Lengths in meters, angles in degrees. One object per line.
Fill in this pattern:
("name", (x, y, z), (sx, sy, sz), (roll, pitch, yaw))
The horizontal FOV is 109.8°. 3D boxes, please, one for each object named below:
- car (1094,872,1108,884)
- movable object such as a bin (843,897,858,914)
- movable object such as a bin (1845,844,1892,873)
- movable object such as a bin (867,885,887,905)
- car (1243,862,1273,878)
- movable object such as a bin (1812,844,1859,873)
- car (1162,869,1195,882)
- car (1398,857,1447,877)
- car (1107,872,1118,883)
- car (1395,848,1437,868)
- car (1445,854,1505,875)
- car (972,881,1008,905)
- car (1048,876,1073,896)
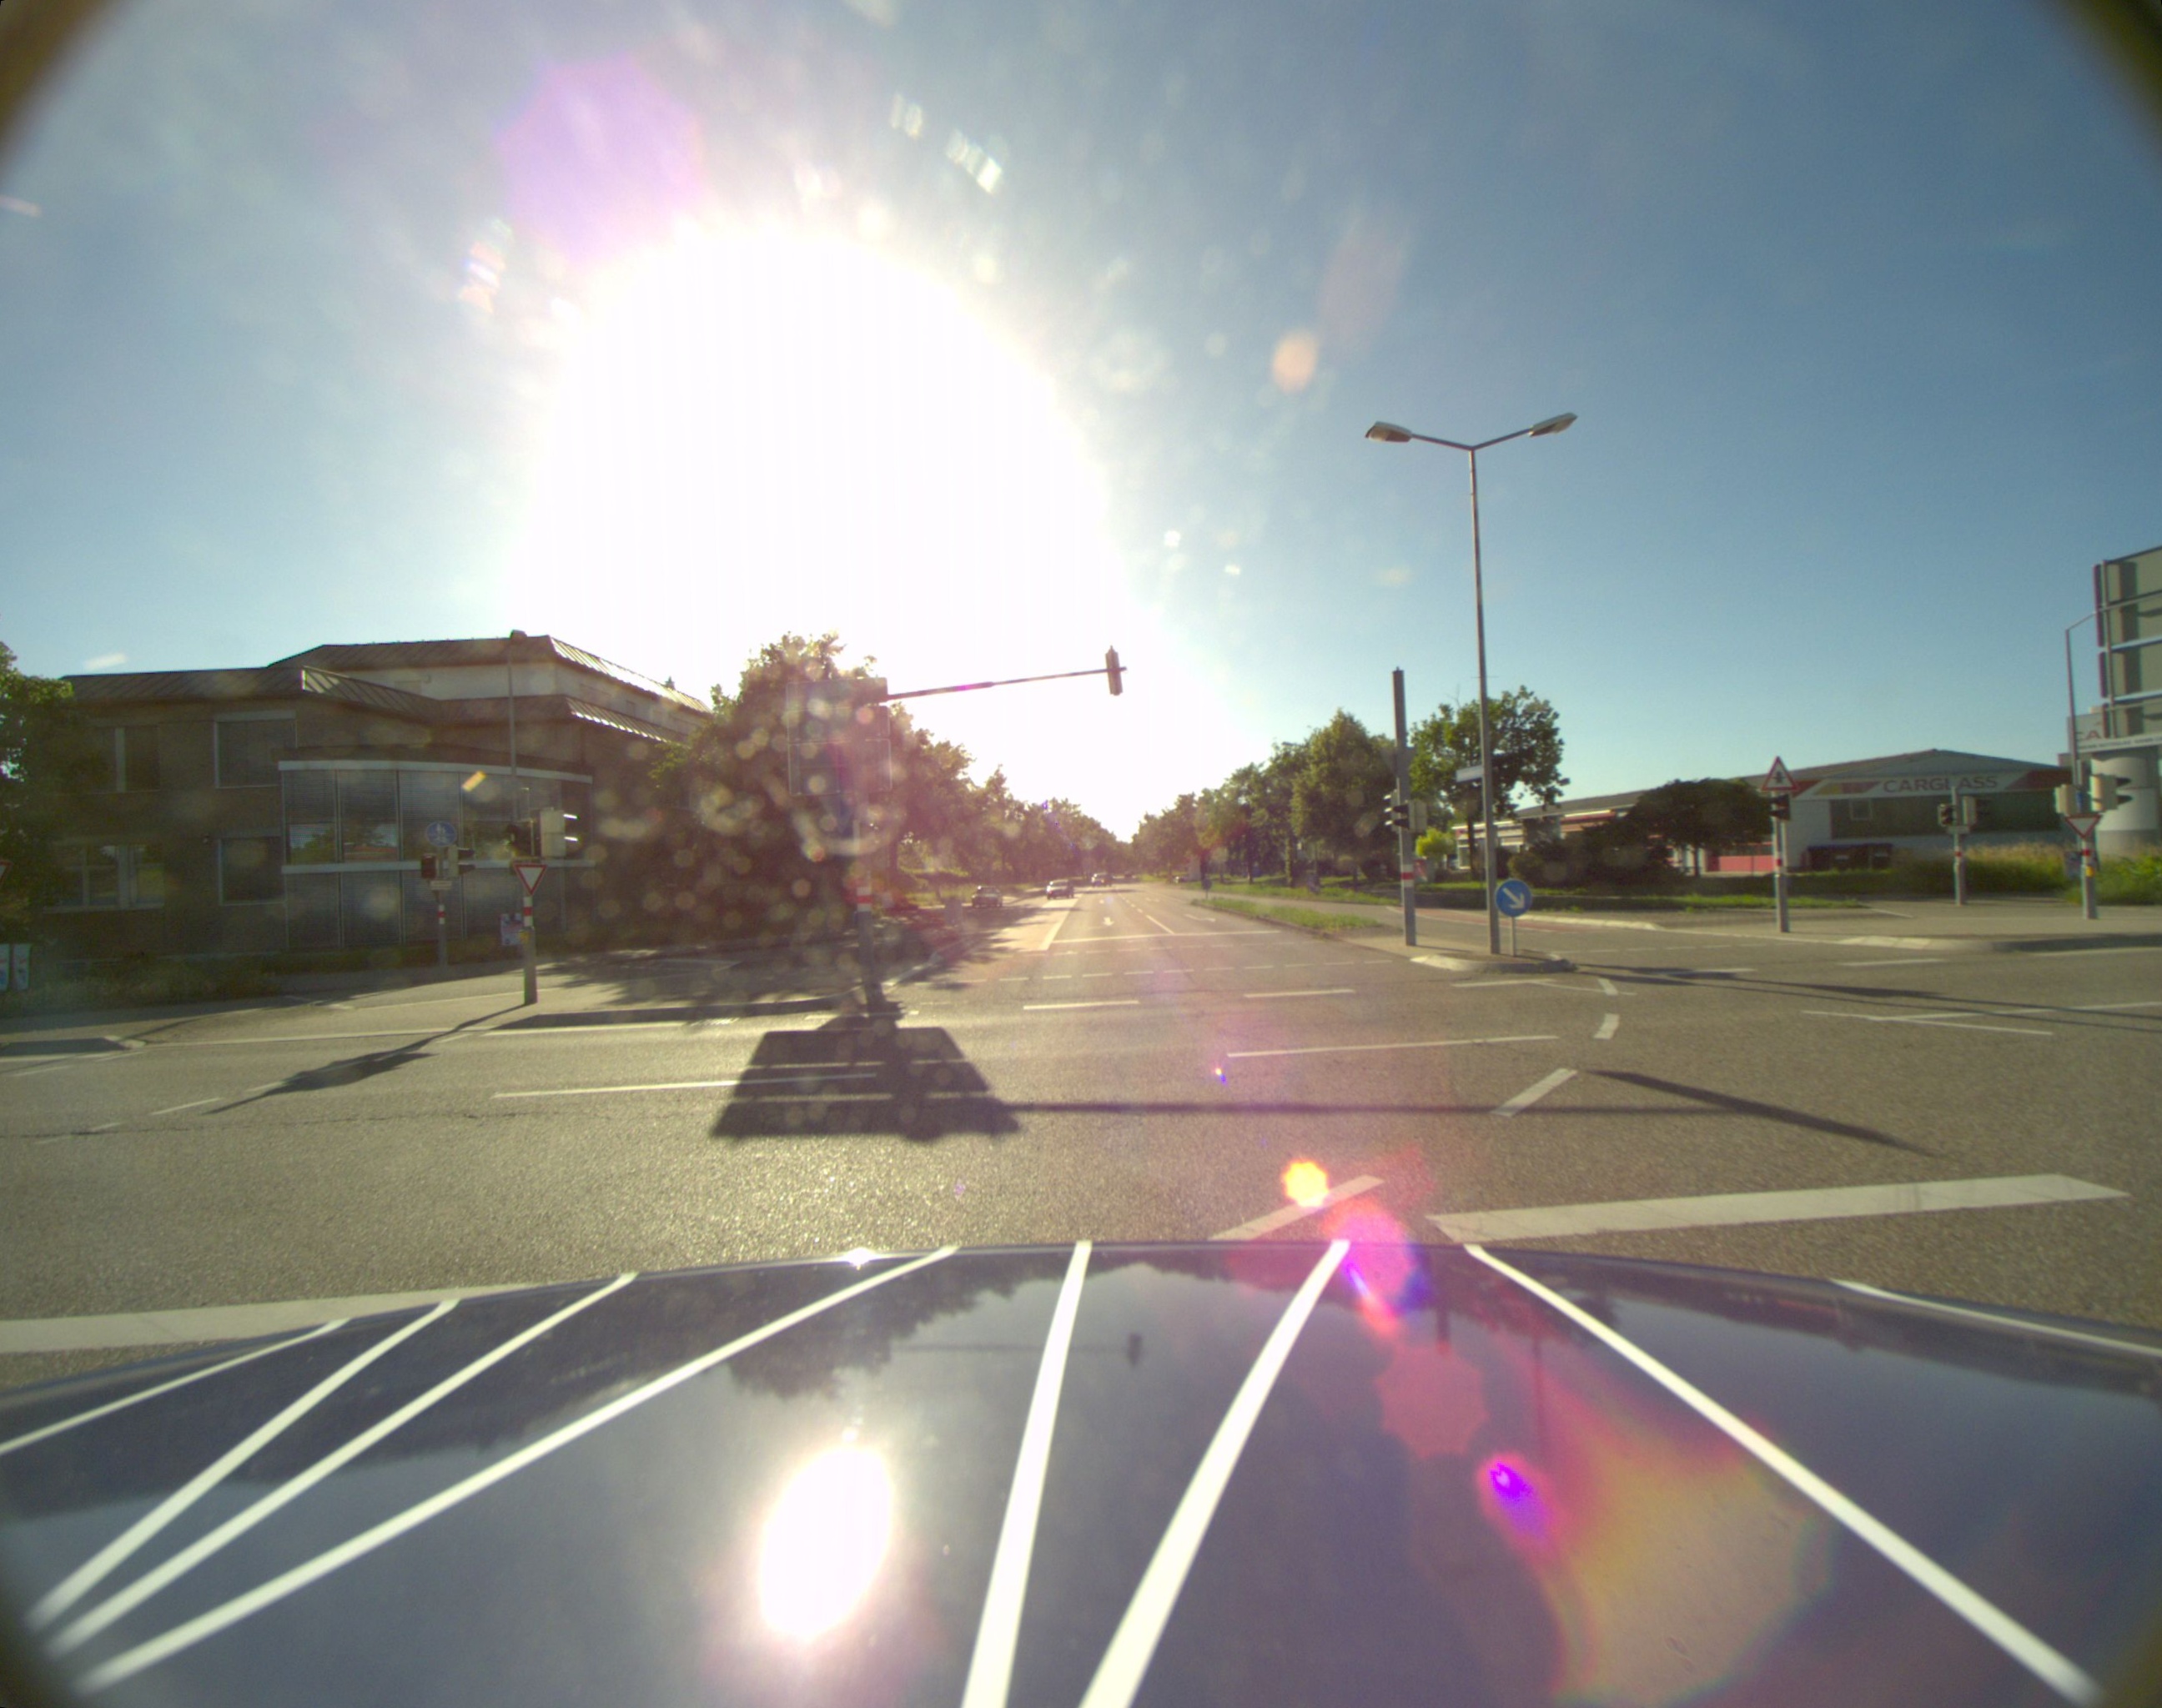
("car", (2.591, 3.086, 99.253), (1.776, 1.477, 4.216), (-1, -1, 2))
("movable object such as a bin", (-15.067, 3.360, 49.750), (0.687, 1.035, 0.695), (-4, -1, 2))
("movable object such as a bin", (36.806, 0.212, 35.531), (1.130, 1.290, 0.993), (-2, -1, 1))
("movable object such as a bin", (-14.079, 2.844, 52.421), (1.089, 1.314, 0.796), (-3, -1, 2))
("car", (26.105, 2.378, 112.223), (3.994, 2.001, 2.002), (-4, -1, 10))
("movable object such as a bin", (35.085, 0.220, 35.356), (1.130, 1.290, 0.993), (-2, -1, 1))
("car", (13.869, 3.027, 108.277), (4.489, 1.695, 2.001), (-2, -1, 7))
("car", (38.091, 1.427, 84.772), (4.488, 1.934, 1.999), (-4, -1, 8))
("car", (6.067, 4.532, 146.708), (1.730, 2.002, 3.999), (-2, 0, -2))
("car", (40.803, 0.526, 92.564), (4.212, 2.203, 1.778), (-2, -1, -1))
("car", (35.633, 0.990, 68.815), (4.238, 1.578, 1.998), (-4, -1, 0))
("car", (-6.150, 2.588, 51.524), (1.776, 1.477, 4.216), (-1, -1, 2))
("car", (-1.630, 2.564, 61.316), (1.776, 1.477, 3.781), (-1, -1, 2))
